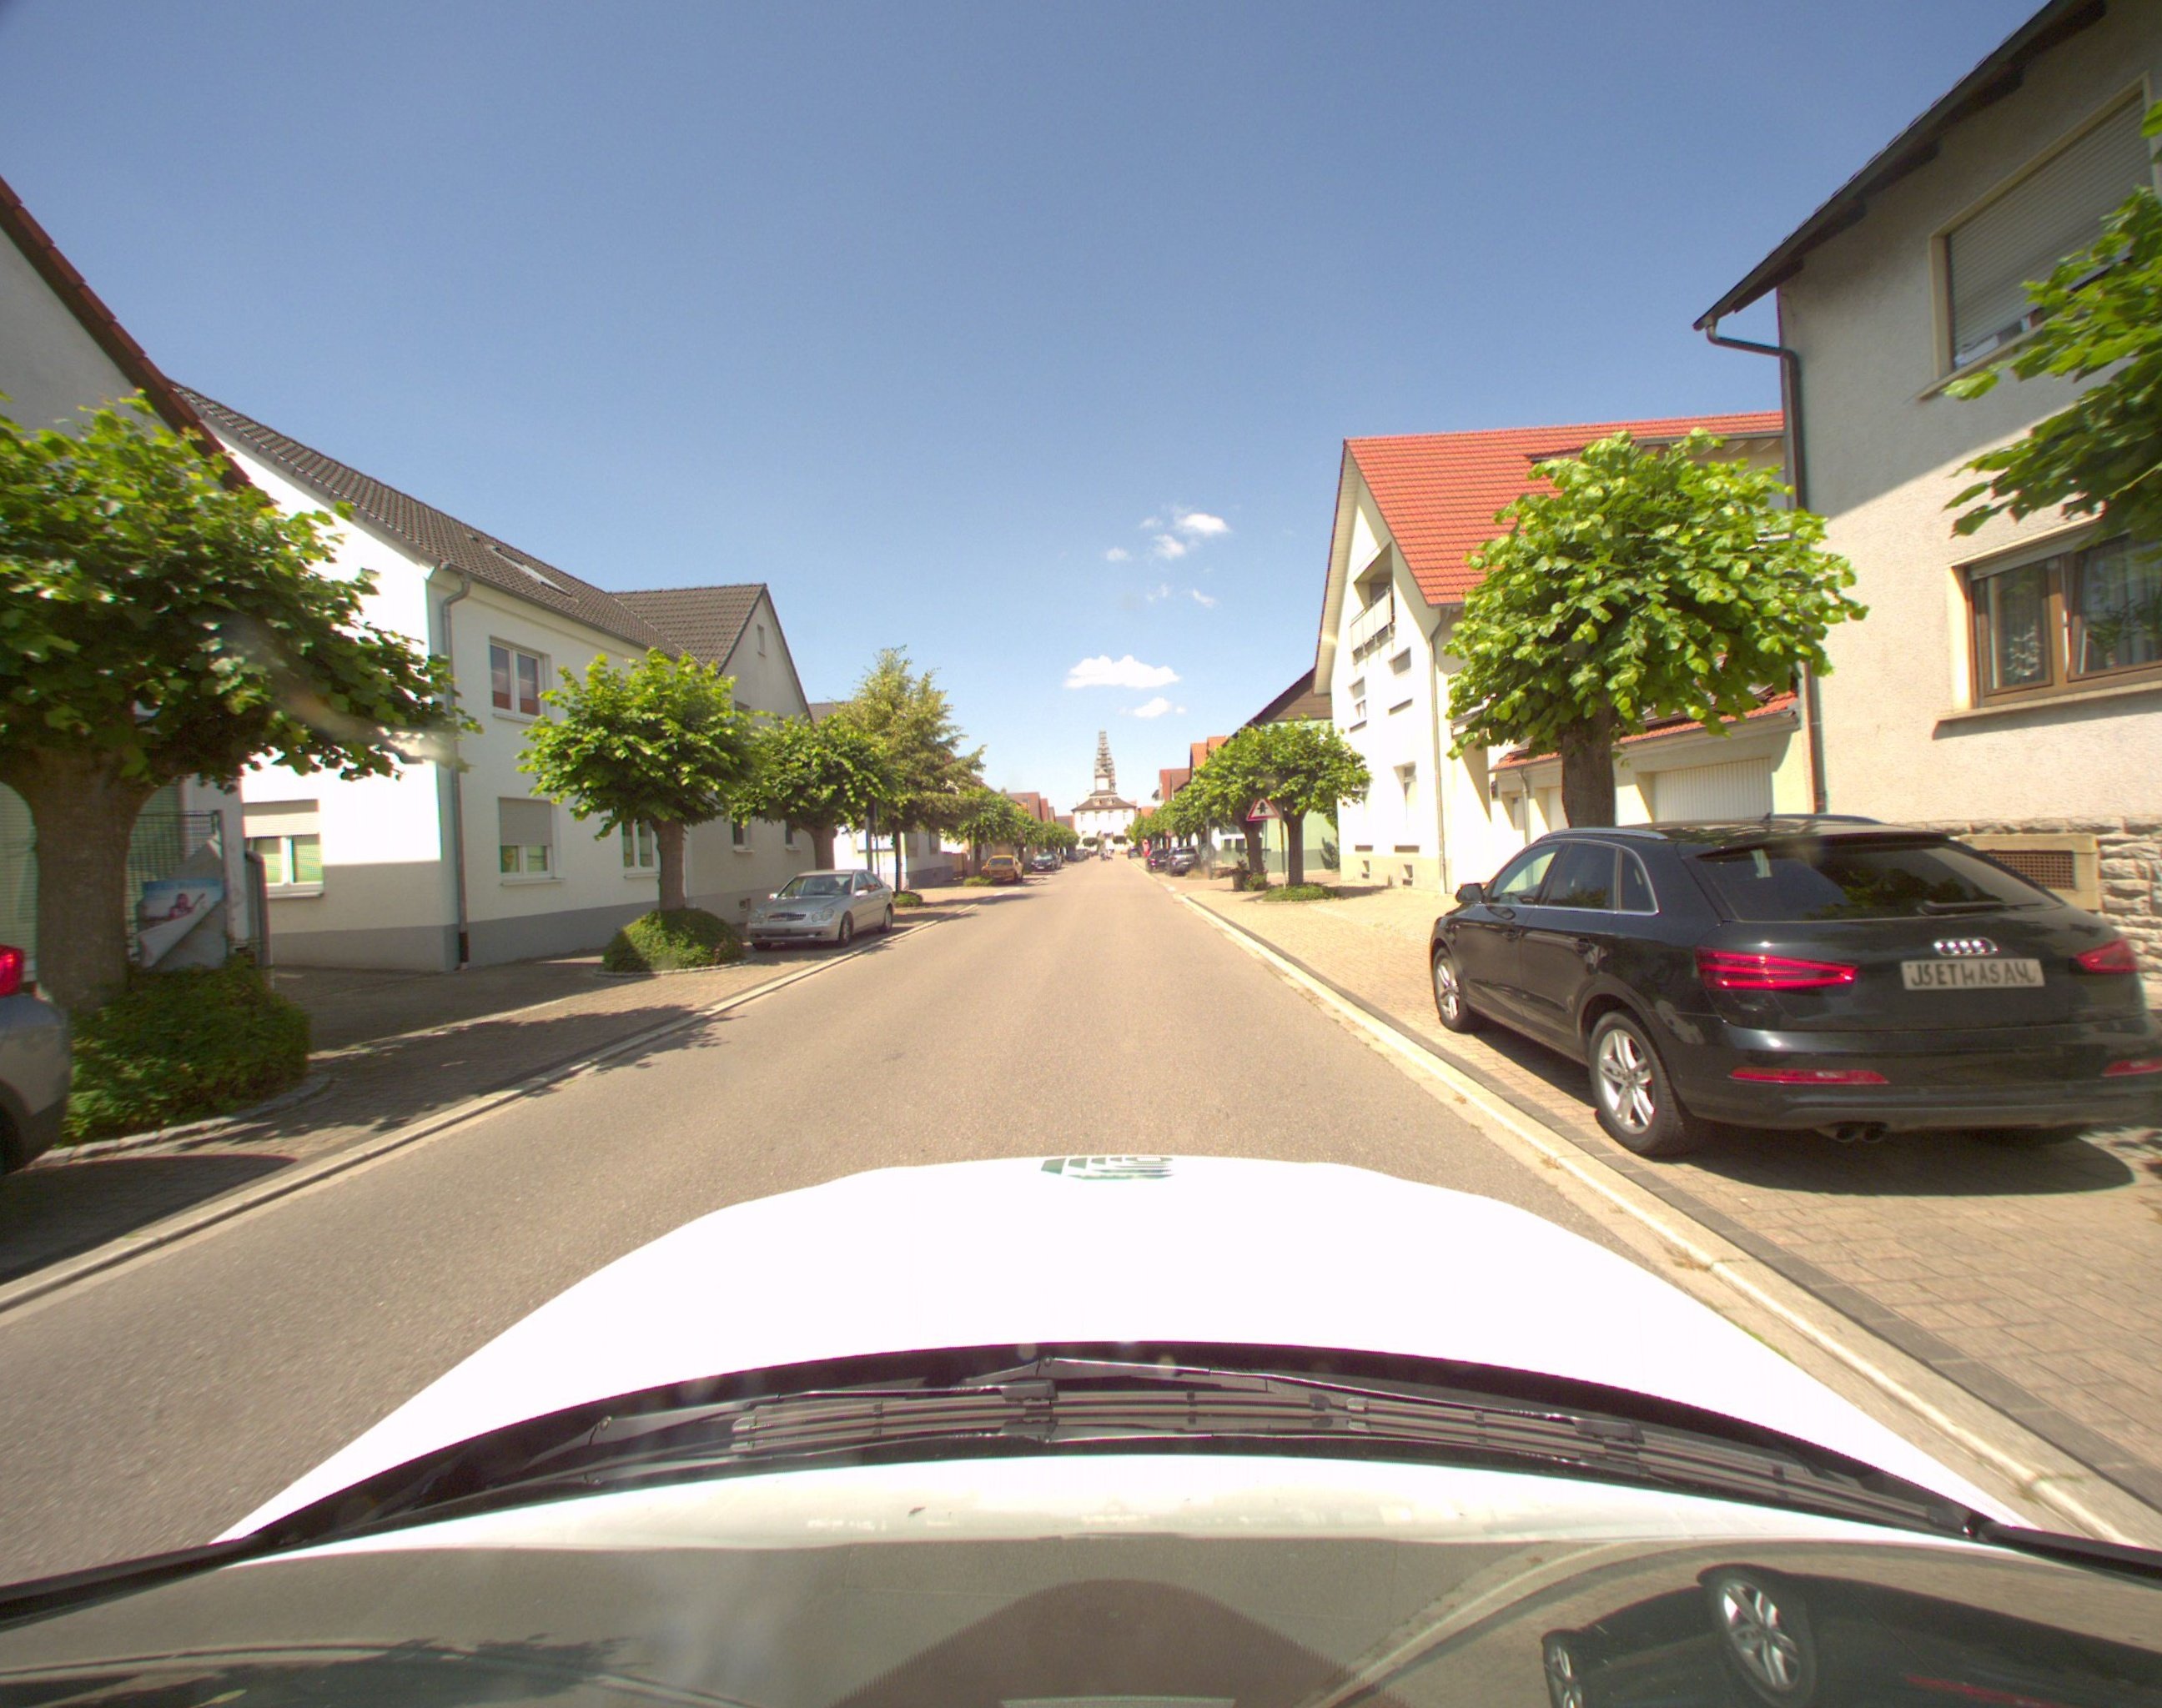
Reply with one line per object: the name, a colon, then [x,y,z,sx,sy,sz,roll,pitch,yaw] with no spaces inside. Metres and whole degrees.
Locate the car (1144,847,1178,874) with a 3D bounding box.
car: [5.175,0.377,52.978,1.830,1.555,4.315,-4,0,2]

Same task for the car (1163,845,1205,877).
car: [5.660,0.364,45.365,1.831,1.607,4.000,-2,0,1]

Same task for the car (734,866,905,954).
car: [-4.997,1.001,16.291,1.834,1.396,4.408,-2,0,2]

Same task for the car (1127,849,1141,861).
car: [7.555,0.152,116.103,1.830,1.555,4.316,-4,0,3]

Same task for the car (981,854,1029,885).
car: [-4.239,0.830,45.995,1.985,1.611,4.693,-1,0,3]

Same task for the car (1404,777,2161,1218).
car: [3.604,0.534,5.112,1.815,1.586,4.064,-4,0,6]

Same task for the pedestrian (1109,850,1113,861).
pedestrian: [3.704,0.176,101.471,0.354,1.403,0.322,-3,0,39]

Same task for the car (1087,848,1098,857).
car: [2.132,-0.226,152.491,1.988,1.611,4.502,-1,-1,-2]

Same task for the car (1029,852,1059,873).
car: [-3.003,0.645,67.252,1.985,1.611,4.693,-1,1,3]

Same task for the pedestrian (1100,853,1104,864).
pedestrian: [2.623,0.583,102.229,0.354,1.403,0.322,-3,0,39]

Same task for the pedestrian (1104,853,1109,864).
pedestrian: [3.214,0.576,102.489,0.354,1.403,0.322,-3,0,39]

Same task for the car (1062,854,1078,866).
car: [-1.471,0.820,110.441,1.750,1.555,4.023,-3,0,3]

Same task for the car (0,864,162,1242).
car: [-5.742,0.920,1.999,1.988,1.652,4.365,-3,0,-1]
